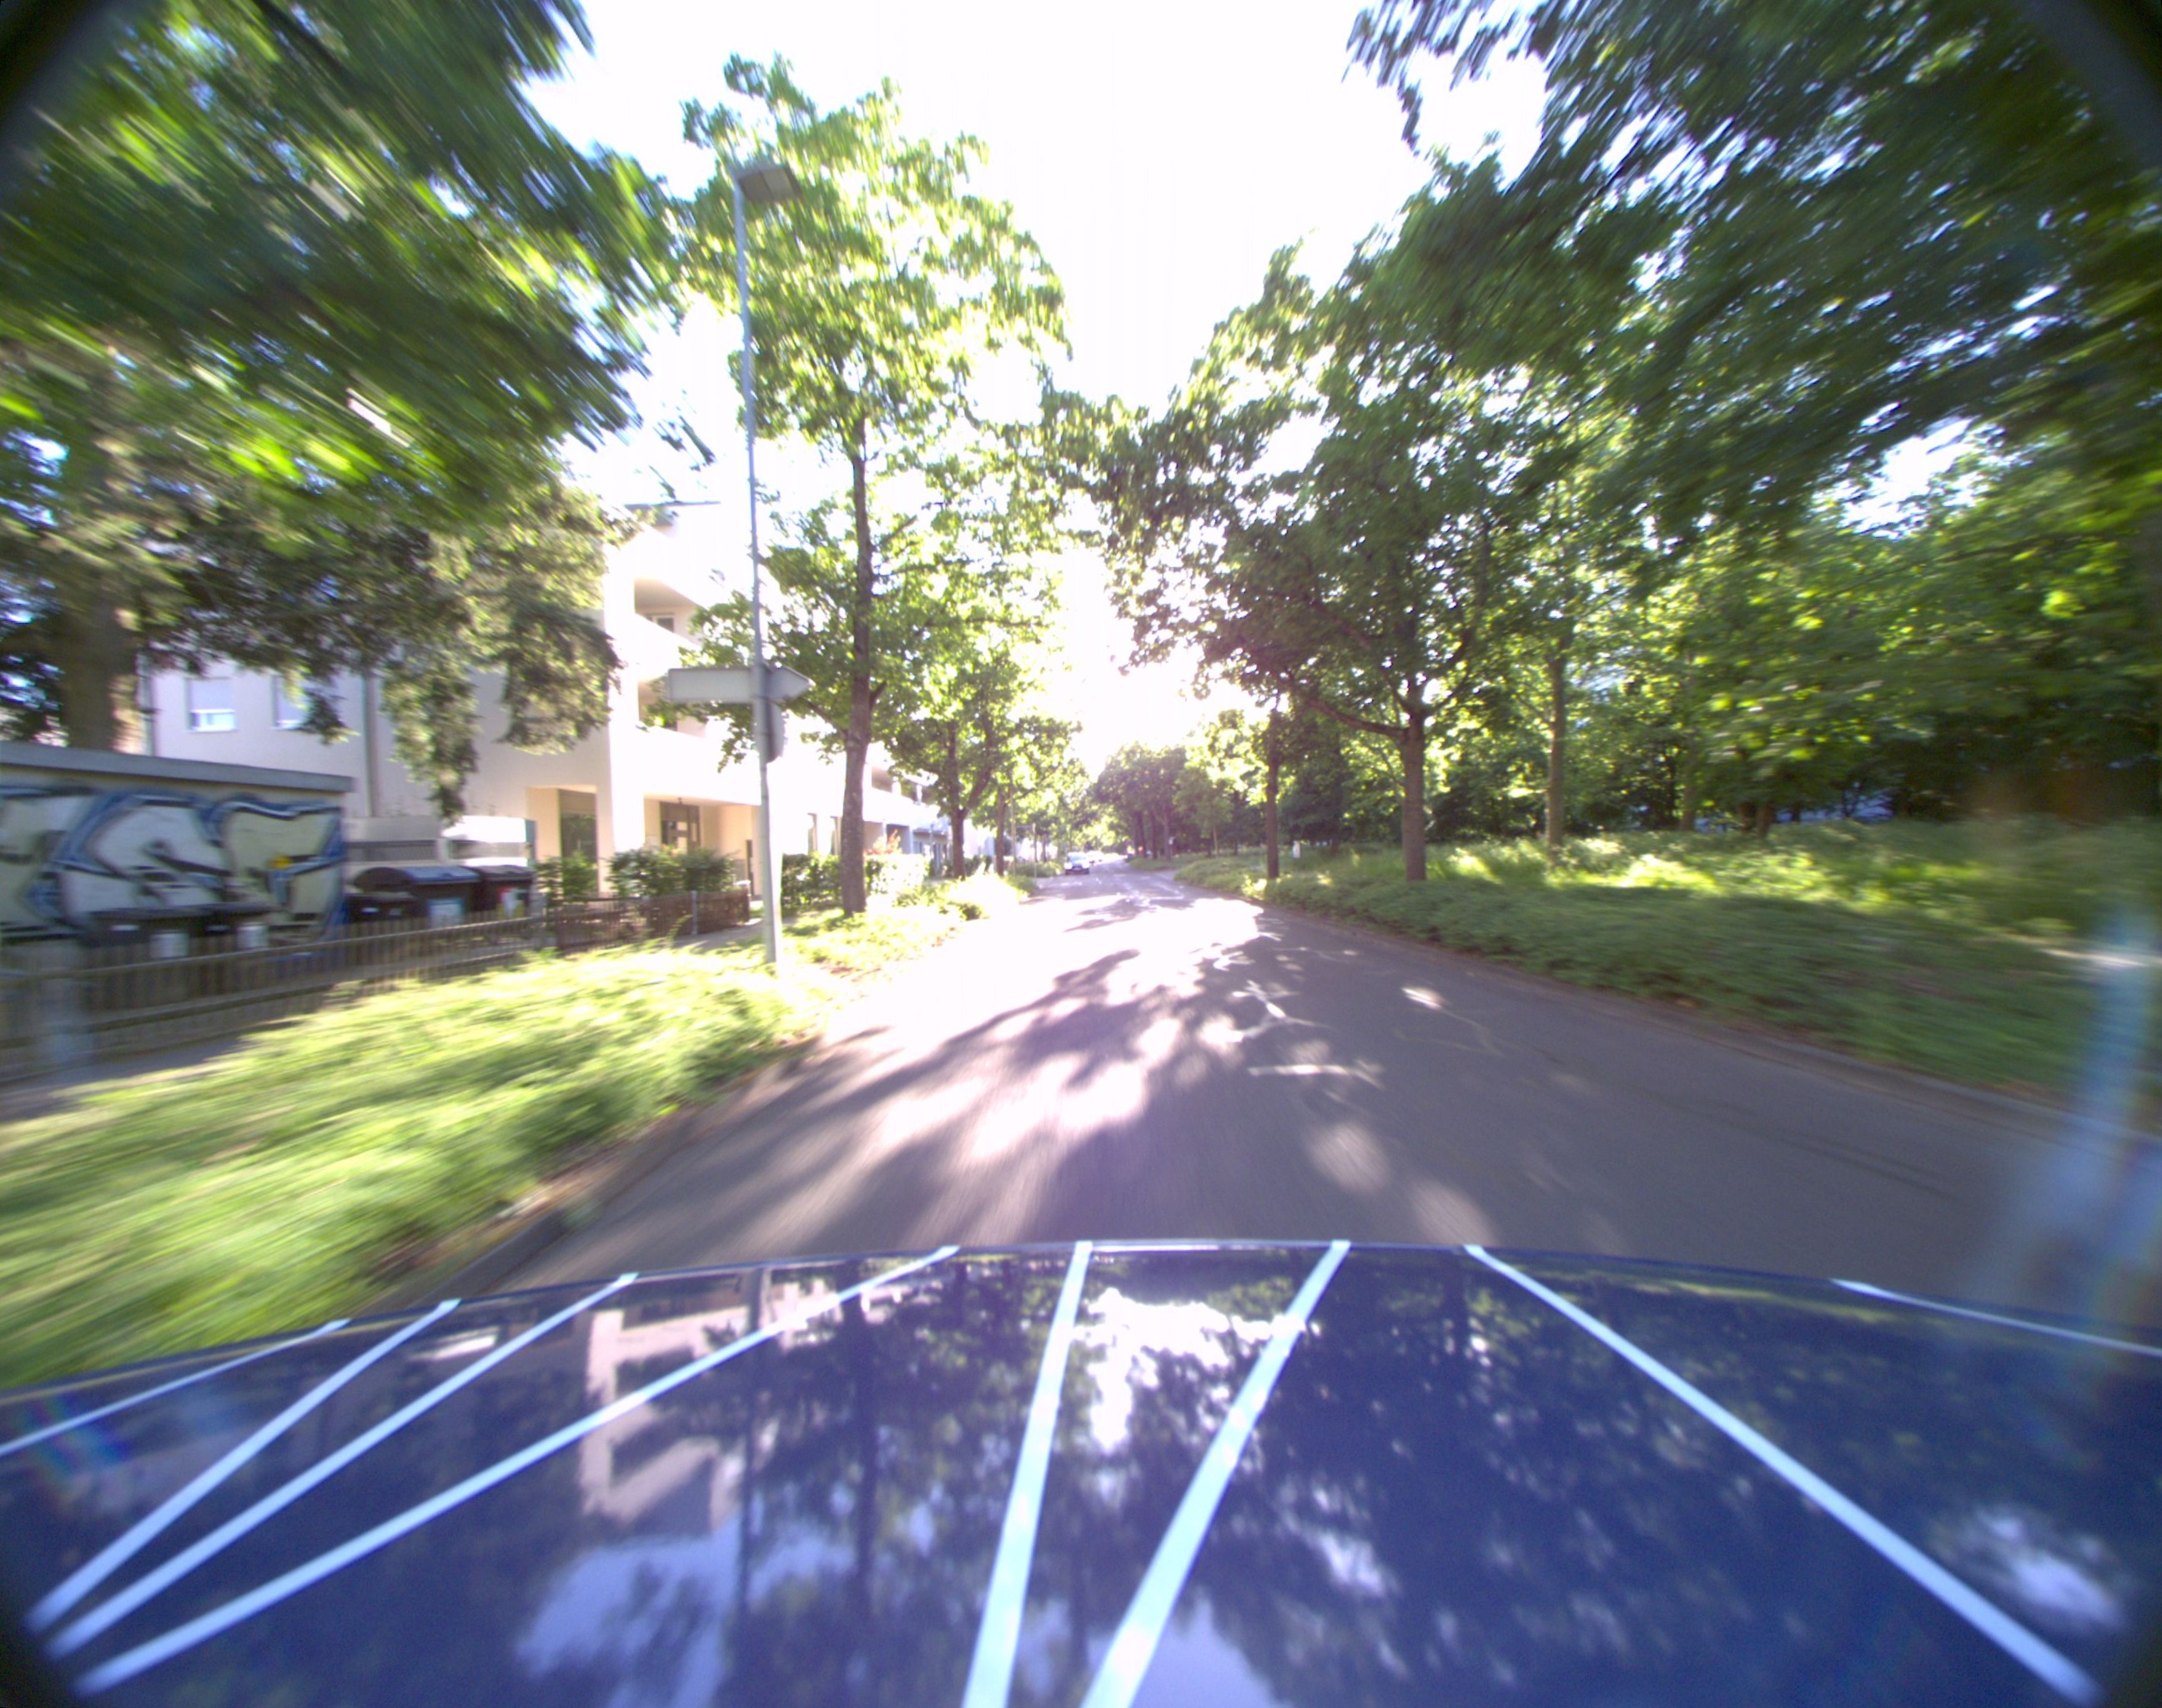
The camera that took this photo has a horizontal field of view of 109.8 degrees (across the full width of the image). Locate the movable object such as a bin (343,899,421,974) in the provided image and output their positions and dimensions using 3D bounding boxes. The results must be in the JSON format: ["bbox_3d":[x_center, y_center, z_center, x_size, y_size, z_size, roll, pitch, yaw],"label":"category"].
[{"bbox_3d":[-10.246,1.195,11.158,0.539,1.024,0.615,-1,1,0],"label":"movable object such as a bin"}]

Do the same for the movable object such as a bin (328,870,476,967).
[{"bbox_3d":[-10.821,0.989,12.181,1.081,1.422,1.387,-1,1,0],"label":"movable object such as a bin"}]

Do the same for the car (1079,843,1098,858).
[{"bbox_3d":[0.854,-0.454,87.202,1.998,1.531,4.000,-3,1,2],"label":"car"}]

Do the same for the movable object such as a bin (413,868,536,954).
[{"bbox_3d":[-10.832,0.980,13.646,1.081,1.419,1.366,-1,1,0],"label":"movable object such as a bin"}]

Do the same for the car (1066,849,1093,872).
[{"bbox_3d":[-0.143,0.463,58.251,1.890,1.613,4.617,-3,1,-1],"label":"car"}]

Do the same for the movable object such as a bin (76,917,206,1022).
[{"bbox_3d":[-10.068,1.219,8.158,0.616,1.024,0.594,-1,1,0],"label":"movable object such as a bin"}]

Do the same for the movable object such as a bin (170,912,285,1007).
[{"bbox_3d":[-10.062,1.229,8.981,0.607,1.024,0.641,-1,1,0],"label":"movable object such as a bin"}]
